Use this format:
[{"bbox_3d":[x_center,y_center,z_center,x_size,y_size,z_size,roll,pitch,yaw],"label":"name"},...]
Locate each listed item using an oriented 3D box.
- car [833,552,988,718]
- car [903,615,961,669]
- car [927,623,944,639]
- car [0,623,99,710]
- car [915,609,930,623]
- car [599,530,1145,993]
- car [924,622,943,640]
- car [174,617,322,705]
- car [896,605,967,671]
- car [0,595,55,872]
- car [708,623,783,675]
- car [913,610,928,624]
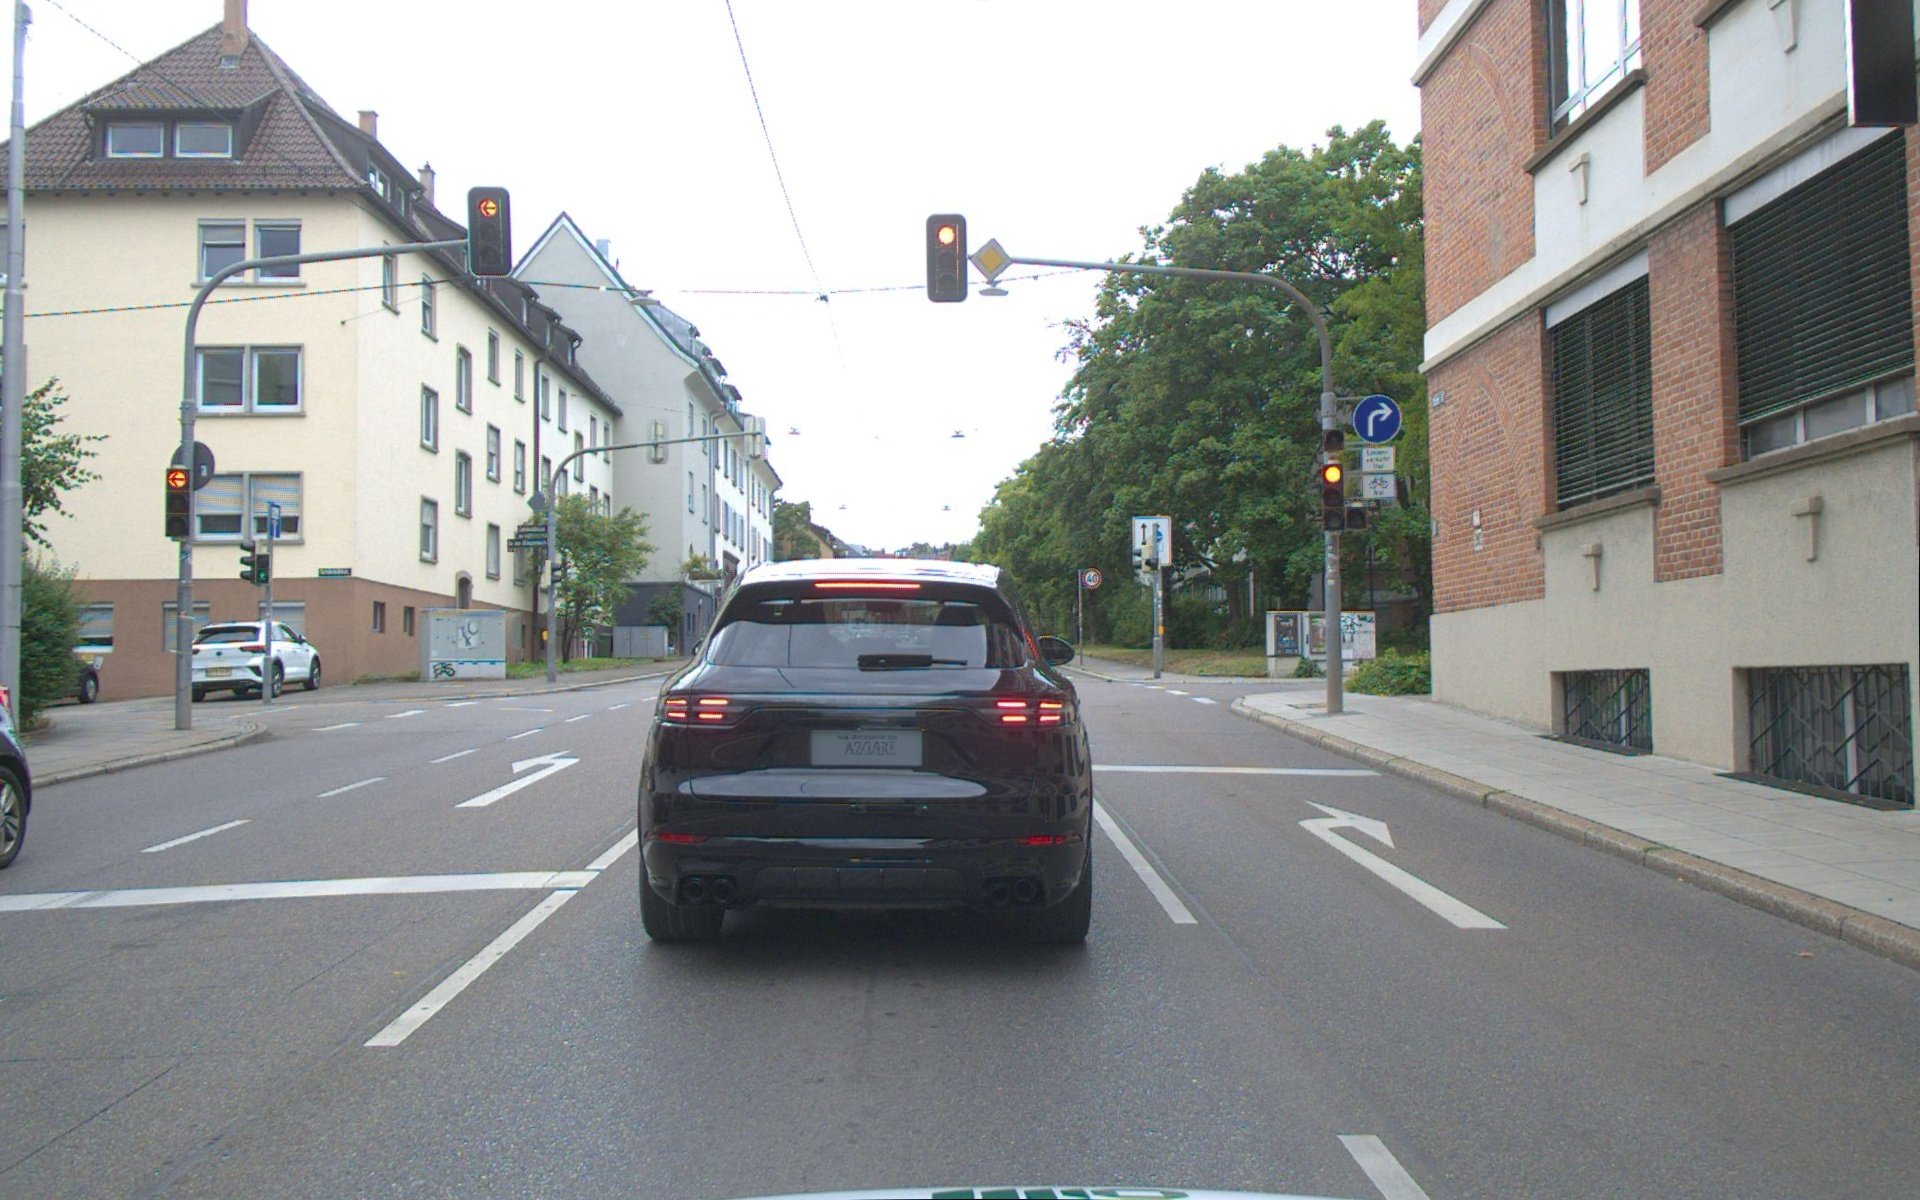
[{"bbox_3d":[-0.650,0.433,23.060,1.925,2.078,4.134,1,0,-1],"label":"car"},{"bbox_3d":[-0.894,1.332,53.686,1.790,1.633,3.858,1,0,-1],"label":"car"},{"bbox_3d":[-2.729,3.390,183.575,1.790,1.633,4.134,1,0,-1],"label":"car"},{"bbox_3d":[-19.626,1.370,34.366,1.658,1.636,3.762,-3,1,-5],"label":"car"},{"bbox_3d":[-4.788,2.043,211.343,1.790,1.633,4.134,1,0,-1],"label":"car"},{"bbox_3d":[-0.345,0.593,8.301,2.007,1.695,4.266,1,0,-1],"label":"car"},{"bbox_3d":[-2.611,3.000,161.394,1.790,1.633,4.134,1,0,-1],"label":"car"},{"bbox_3d":[-14.792,1.227,34.577,1.658,1.582,3.762,-3,1,-5],"label":"car"},{"bbox_3d":[-0.758,0.995,44.975,1.790,1.633,4.134,1,0,-1],"label":"car"},{"bbox_3d":[-6.390,0.830,8.295,1.670,1.614,3.933,-3,0,-4],"label":"car"},{"bbox_3d":[-6.648,1.502,51.663,1.749,1.443,4.669,-2,0,-1],"label":"car"},{"bbox_3d":[-4.856,2.106,204.016,1.790,1.633,4.134,1,0,-1],"label":"car"}]
